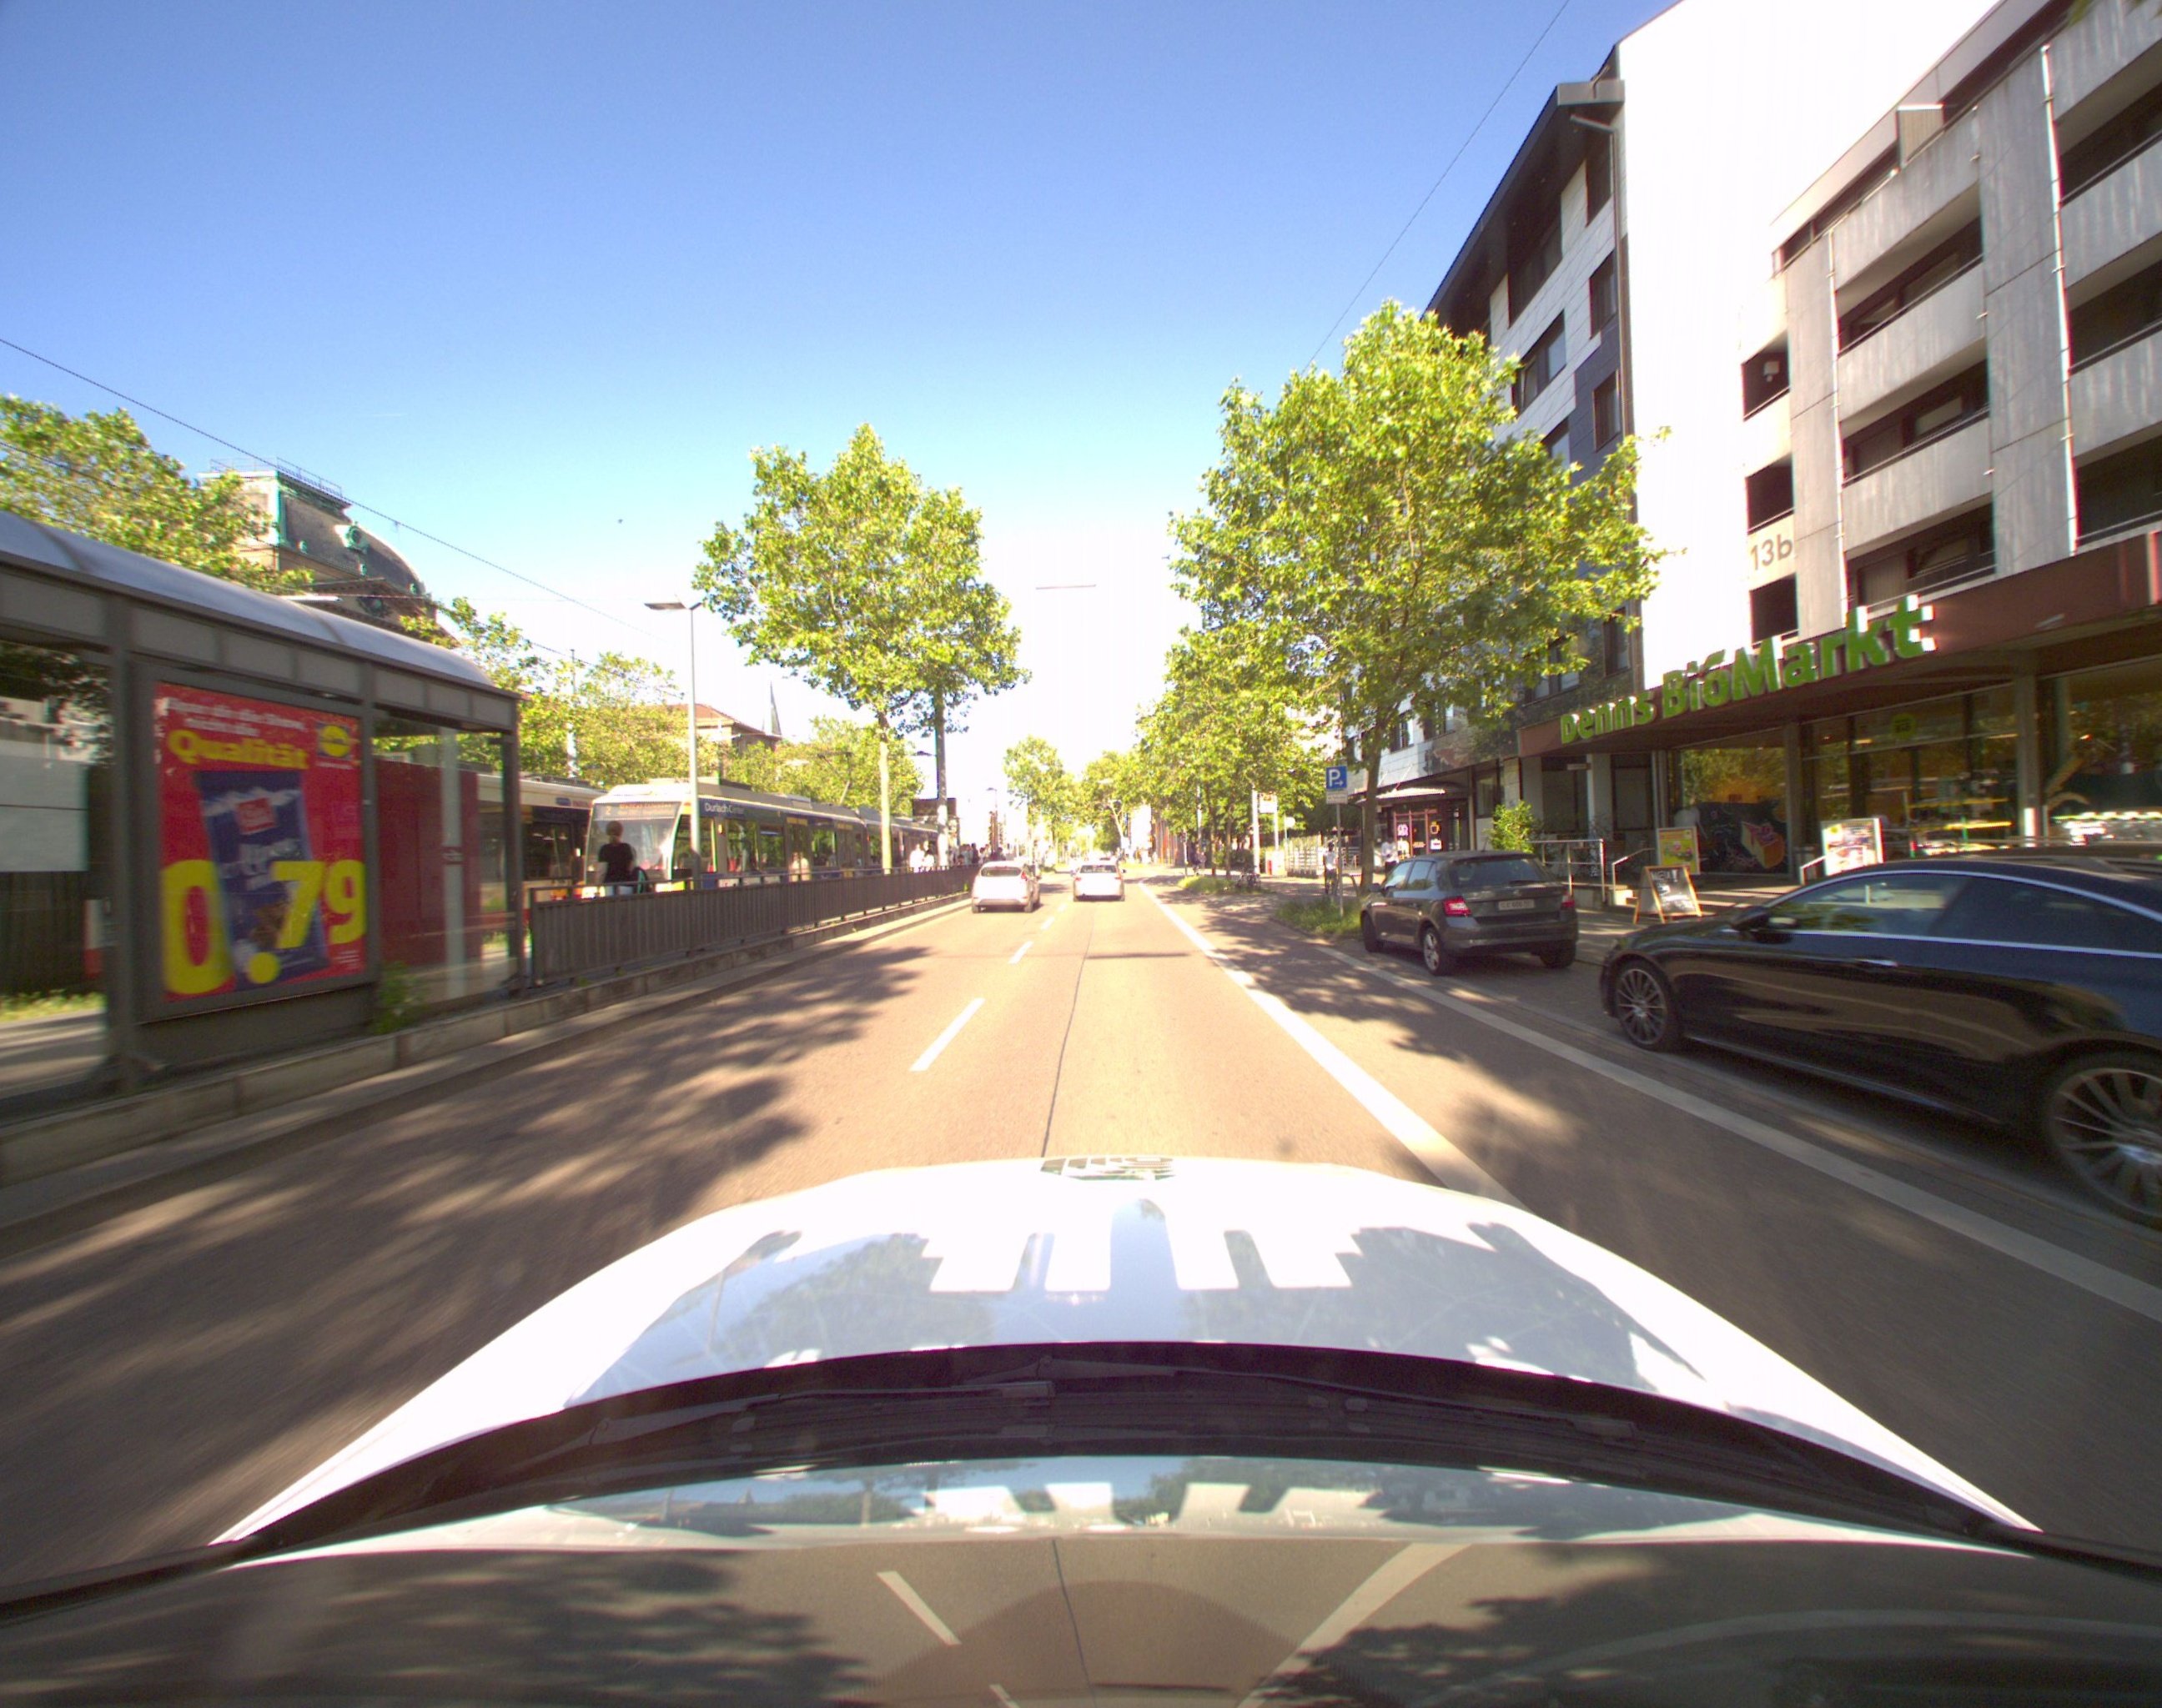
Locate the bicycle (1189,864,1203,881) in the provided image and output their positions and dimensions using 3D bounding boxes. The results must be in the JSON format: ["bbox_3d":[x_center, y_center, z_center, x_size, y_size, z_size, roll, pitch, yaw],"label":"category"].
[{"bbox_3d":[7.999,1.280,56.626,0.826,1.041,1.880,-3,-1,11],"label":"bicycle"}]

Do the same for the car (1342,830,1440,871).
[{"bbox_3d":[18.059,-0.186,47.612,4.879,1.984,1.914,-5,-1,1],"label":"car"}]

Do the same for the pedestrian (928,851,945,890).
[{"bbox_3d":[-6.413,0.738,36.060,0.607,1.702,0.545,-2,-1,-3],"label":"pedestrian"}]

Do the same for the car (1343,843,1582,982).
[{"bbox_3d":[5.019,0.687,11.343,1.559,1.550,4.002,-2,-1,2],"label":"car"}]

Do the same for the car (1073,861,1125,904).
[{"bbox_3d":[0.649,0.970,29.240,1.724,1.390,3.841,-1,0,1],"label":"car"}]

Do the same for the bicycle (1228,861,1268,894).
[{"bbox_3d":[6.142,0.853,30.067,0.788,1.133,1.839,-2,-1,-11],"label":"bicycle"}]

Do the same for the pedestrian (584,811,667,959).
[{"bbox_3d":[-5.249,0.346,9.412,0.564,1.640,0.622,-1,-1,3],"label":"pedestrian"}]

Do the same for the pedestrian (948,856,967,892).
[{"bbox_3d":[-4.396,0.700,28.945,0.532,1.246,0.604,-3,-1,0],"label":"pedestrian"}]

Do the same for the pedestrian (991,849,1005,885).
[{"bbox_3d":[-4.048,0.619,39.575,0.548,1.734,0.537,-2,-1,-13],"label":"pedestrian"}]

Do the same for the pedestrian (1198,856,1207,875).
[{"bbox_3d":[10.465,0.960,70.093,0.622,1.629,0.946,-1,-1,10],"label":"pedestrian"}]

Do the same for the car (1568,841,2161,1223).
[{"bbox_3d":[4.920,0.659,4.461,1.755,1.418,4.701,-1,-1,1],"label":"car"}]

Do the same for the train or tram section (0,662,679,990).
[{"bbox_3d":[-12.564,-0.254,12.756,2.838,3.434,18.223,-1,0,2],"label":"train or tram section"}]

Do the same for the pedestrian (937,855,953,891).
[{"bbox_3d":[-5.753,0.794,34.474,0.543,1.519,0.531,-2,-1,1],"label":"pedestrian"}]

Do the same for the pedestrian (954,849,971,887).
[{"bbox_3d":[-5.269,0.611,36.230,0.617,1.649,0.622,-2,-1,-2],"label":"pedestrian"}]

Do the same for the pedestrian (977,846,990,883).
[{"bbox_3d":[-4.564,0.481,38.139,0.504,1.702,0.611,-2,-1,-2],"label":"pedestrian"}]

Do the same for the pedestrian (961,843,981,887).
[{"bbox_3d":[-4.376,0.440,32.446,0.658,1.696,0.571,-2,-1,2],"label":"pedestrian"}]

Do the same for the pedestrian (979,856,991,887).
[{"bbox_3d":[-4.188,0.765,35.633,0.414,1.316,0.507,-2,-1,0],"label":"pedestrian"}]

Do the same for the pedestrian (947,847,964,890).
[{"bbox_3d":[-5.131,0.578,33.192,0.513,1.708,0.621,-2,-1,1],"label":"pedestrian"}]

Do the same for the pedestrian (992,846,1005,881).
[{"bbox_3d":[-4.090,0.465,40.329,0.546,1.734,0.539,-2,-1,-2],"label":"pedestrian"}]

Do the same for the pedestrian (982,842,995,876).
[{"bbox_3d":[-4.844,0.261,42.673,0.546,1.734,0.539,-2,-1,-2],"label":"pedestrian"}]

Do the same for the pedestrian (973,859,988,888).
[{"bbox_3d":[-4.241,0.836,34.388,0.543,1.192,0.531,-2,-1,1],"label":"pedestrian"}]

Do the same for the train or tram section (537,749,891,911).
[{"bbox_3d":[-9.281,-0.295,24.421,2.903,3.260,15.898,0,-1,2],"label":"train or tram section"}]

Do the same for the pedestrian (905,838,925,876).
[{"bbox_3d":[-5.808,0.112,28.549,0.532,1.299,0.604,-3,-1,-2],"label":"pedestrian"}]

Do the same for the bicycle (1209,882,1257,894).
[{"bbox_3d":[5.707,1.270,30.718,1.602,0.353,1.389,-2,-1,2],"label":"bicycle"}]

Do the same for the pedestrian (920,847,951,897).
[{"bbox_3d":[-4.564,0.547,25.603,0.773,1.510,0.751,-3,-1,-2],"label":"pedestrian"}]

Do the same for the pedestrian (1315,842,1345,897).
[{"bbox_3d":[7.886,0.488,25.835,0.558,1.704,1.052,-3,-1,1],"label":"pedestrian"}]

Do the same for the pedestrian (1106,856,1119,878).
[{"bbox_3d":[2.324,0.980,59.802,0.824,1.575,0.741,-2,-1,9],"label":"pedestrian"}]

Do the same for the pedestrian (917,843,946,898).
[{"bbox_3d":[-4.939,0.551,26.991,0.773,1.752,0.723,-3,-1,-2],"label":"pedestrian"}]

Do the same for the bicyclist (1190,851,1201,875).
[{"bbox_3d":[7.977,0.638,56.635,0.654,1.657,0.767,-3,-1,10],"label":"bicyclist"}]

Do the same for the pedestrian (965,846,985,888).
[{"bbox_3d":[-4.379,0.535,33.580,0.658,1.696,0.571,-2,-1,2],"label":"pedestrian"}]

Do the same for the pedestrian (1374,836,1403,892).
[{"bbox_3d":[9.841,0.313,26.083,0.558,1.744,0.879,-3,-1,1],"label":"pedestrian"}]

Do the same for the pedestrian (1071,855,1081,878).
[{"bbox_3d":[-0.391,0.937,59.224,0.637,1.619,0.642,-2,-3,1],"label":"pedestrian"}]

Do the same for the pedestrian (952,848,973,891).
[{"bbox_3d":[-4.595,0.600,31.628,0.658,1.634,0.571,-2,-1,2],"label":"pedestrian"}]

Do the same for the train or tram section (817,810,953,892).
[{"bbox_3d":[-8.812,0.055,38.899,2.903,3.260,13.117,0,-1,2],"label":"train or tram section"}]

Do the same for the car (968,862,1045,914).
[{"bbox_3d":[-2.092,0.945,23.877,1.653,1.409,3.636,-1,-1,4],"label":"car"}]
